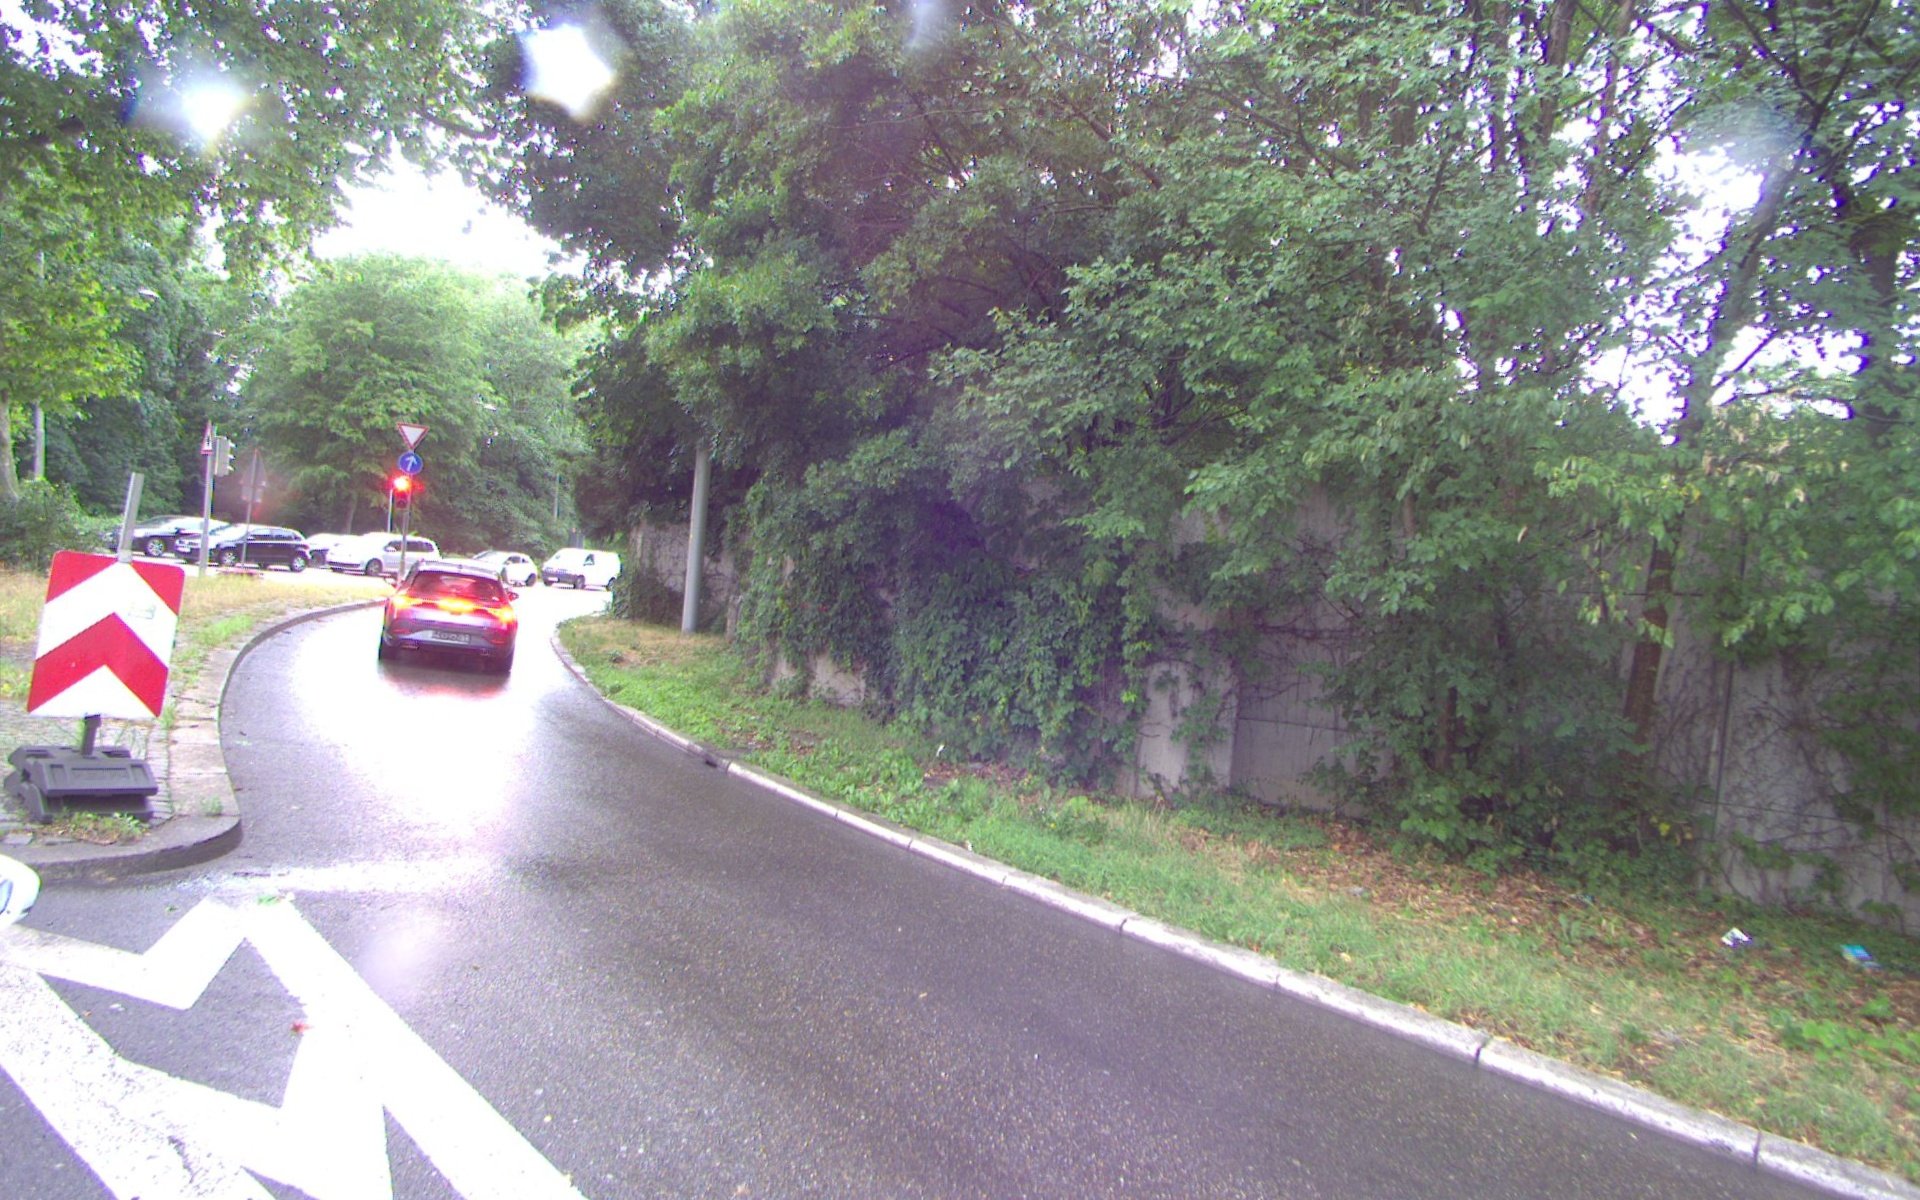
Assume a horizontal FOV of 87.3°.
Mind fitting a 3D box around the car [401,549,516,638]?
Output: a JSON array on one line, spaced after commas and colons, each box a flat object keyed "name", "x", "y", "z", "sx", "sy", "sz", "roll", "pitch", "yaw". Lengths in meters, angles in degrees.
[{"name": "car", "x": -10.926, "y": -0.179, "z": 22.214, "sx": 1.837, "sy": 1.464, "sz": 4.593, "roll": 11, "pitch": -3, "yaw": -24}]

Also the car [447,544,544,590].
[{"name": "car", "x": -20.547, "y": -1.424, "z": 44.690, "sx": 1.627, "sy": 1.478, "sz": 3.869, "roll": 7, "pitch": -2, "yaw": 16}]

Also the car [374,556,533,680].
[{"name": "car", "x": -7.713, "y": 0.203, "z": 15.422, "sx": 1.734, "sy": 1.418, "sz": 4.386, "roll": 10, "pitch": -3, "yaw": -26}]

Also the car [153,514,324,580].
[{"name": "car", "x": -23.322, "y": -1.661, "z": 32.732, "sx": 1.759, "sy": 1.477, "sz": 4.205, "roll": 7, "pitch": -2, "yaw": 16}]

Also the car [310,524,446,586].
[{"name": "car", "x": -22.078, "y": -1.650, "z": 38.356, "sx": 1.871, "sy": 1.699, "sz": 4.216, "roll": 7, "pitch": -2, "yaw": 16}]

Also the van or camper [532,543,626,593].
[{"name": "van or camper", "x": -19.124, "y": -1.559, "z": 50.726, "sx": 1.870, "sy": 1.970, "sz": 4.870, "roll": 7, "pitch": -1, "yaw": 13}]

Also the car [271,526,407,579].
[{"name": "car", "x": -24.784, "y": -1.873, "z": 40.344, "sx": 1.795, "sy": 1.418, "sz": 4.452, "roll": 7, "pitch": -2, "yaw": 16}]

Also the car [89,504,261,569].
[{"name": "car", "x": -26.658, "y": -2.108, "z": 34.349, "sx": 1.913, "sy": 1.457, "sz": 4.218, "roll": 7, "pitch": -2, "yaw": 16}]
